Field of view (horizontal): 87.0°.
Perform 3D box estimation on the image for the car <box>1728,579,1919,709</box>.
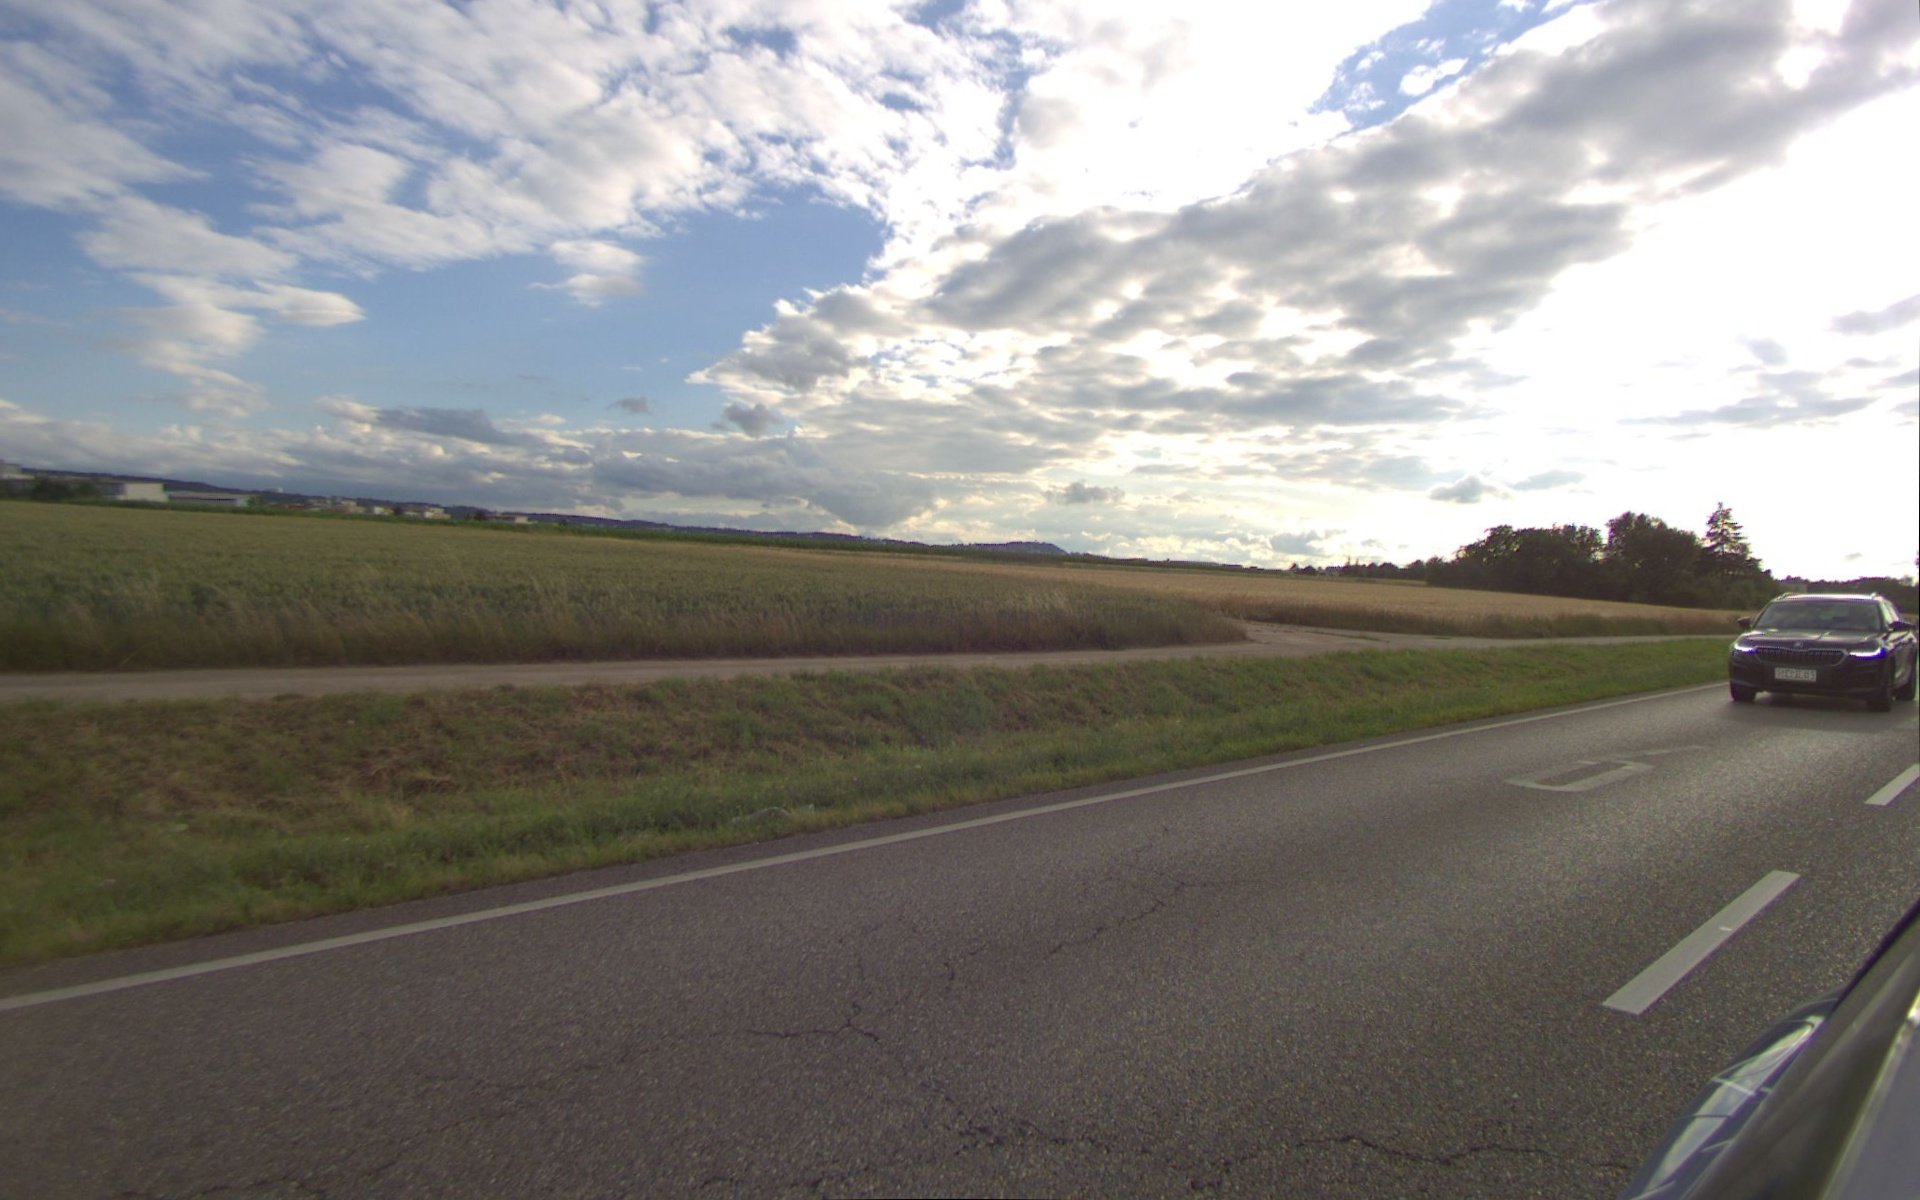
[{"bbox_3d":[13.579,0.565,15.635,4.477,1.730,1.840,-1,1,-41],"label":"car"}]
